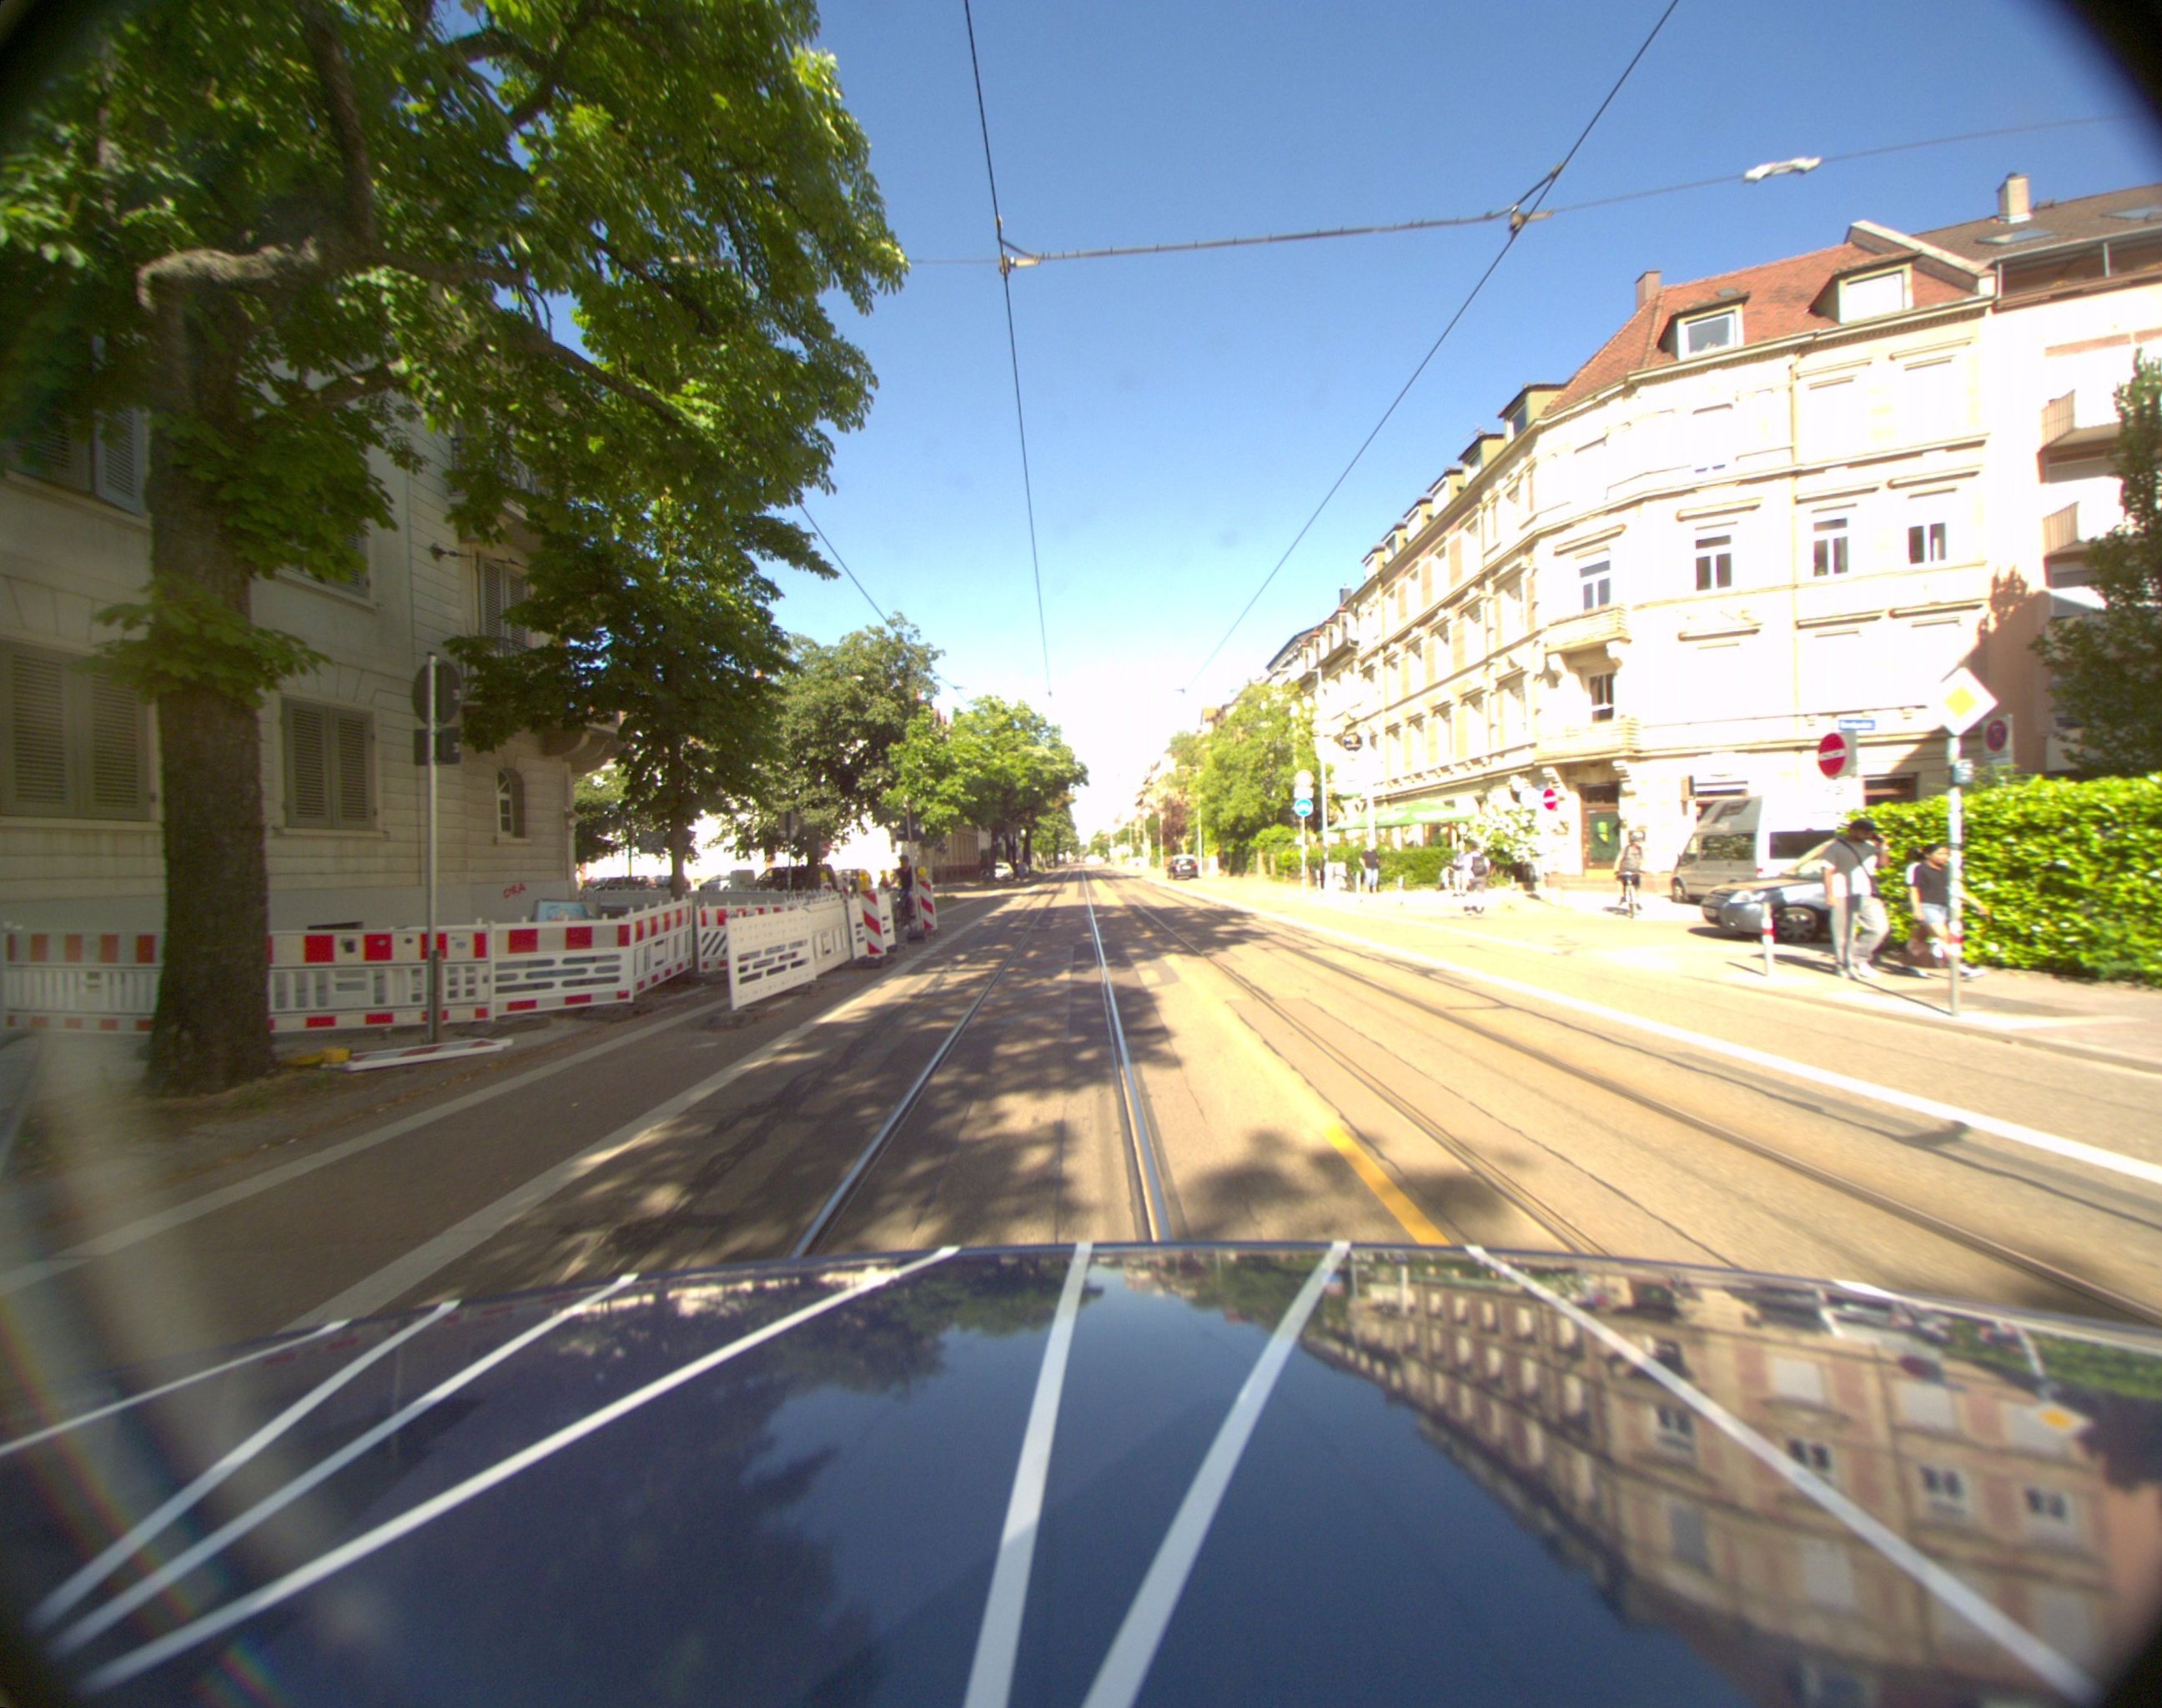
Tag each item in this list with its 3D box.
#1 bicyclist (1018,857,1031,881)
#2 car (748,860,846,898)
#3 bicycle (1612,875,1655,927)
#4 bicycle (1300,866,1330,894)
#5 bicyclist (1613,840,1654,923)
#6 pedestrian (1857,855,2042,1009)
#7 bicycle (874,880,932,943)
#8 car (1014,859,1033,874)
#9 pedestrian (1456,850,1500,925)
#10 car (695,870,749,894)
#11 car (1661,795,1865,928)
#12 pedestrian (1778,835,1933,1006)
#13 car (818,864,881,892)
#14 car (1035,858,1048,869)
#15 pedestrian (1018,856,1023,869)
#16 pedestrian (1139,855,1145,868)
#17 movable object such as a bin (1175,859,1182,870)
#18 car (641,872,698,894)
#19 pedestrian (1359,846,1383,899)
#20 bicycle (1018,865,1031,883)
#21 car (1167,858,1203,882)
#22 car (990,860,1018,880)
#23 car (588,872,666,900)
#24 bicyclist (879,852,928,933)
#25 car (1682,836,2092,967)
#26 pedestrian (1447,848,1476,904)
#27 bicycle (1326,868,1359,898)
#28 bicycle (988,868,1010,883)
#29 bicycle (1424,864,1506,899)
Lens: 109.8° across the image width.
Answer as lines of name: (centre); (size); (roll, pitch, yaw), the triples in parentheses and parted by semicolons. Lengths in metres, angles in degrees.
bicyclist: (-3.775, 0.993, 50.899); (0.776, 1.505, 1.229); (-2, 0, -3)
car: (-15.533, 1.377, 41.525); (5.054, 1.880, 2.003); (-2, 2, 26)
bicycle: (12.863, 1.062, 17.719); (0.705, 1.049, 1.838); (-1, 2, 33)
bicycle: (9.530, 1.036, 31.044); (0.515, 1.032, 2.223); (-2, 0, 1)
bicyclist: (12.855, 0.623, 17.712); (0.705, 1.843, 0.987); (-1, 2, 33)
pedestrian: (8.980, 0.764, 7.904); (0.756, 1.469, 0.957); (-4, 0, 1)
bicycle: (-3.992, 1.264, 17.238); (0.763, 1.235, 2.096); (-3, 0, 0)
car: (-5.880, 1.274, 77.880); (1.824, 1.475, 4.748); (-1, 0, -2)
pedestrian: (9.668, 0.799, 18.539); (0.693, 1.757, 0.867); (-2, 0, 10)
car: (-24.404, 1.896, 51.632); (3.493, 1.491, 1.441); (-2, 2, 28)
car: (16.381, 0.111, 18.632); (1.889, 2.825, 4.788); (-1, 1, 17)
pedestrian: (8.279, 0.680, 8.165); (0.756, 1.704, 0.808); (-4, 0, 1)
car: (-14.311, 1.499, 46.943); (3.431, 1.530, 1.725); (-2, 3, 28)
car: (-5.826, 1.384, 112.390); (1.761, 1.458, 4.613); (-1, 0, -2)
pedestrian: (-9.183, 1.313, 115.199); (0.743, 2.002, 0.687); (-2, 0, -8)
pedestrian: (8.802, 1.120, 110.125); (0.809, 1.825, 0.754); (-2, 0, 9)
movable object such as a bin: (10.292, 1.097, 80.031); (0.590, 1.169, 0.665); (-2, 0, -5)
car: (-29.563, 2.102, 54.563); (3.952, 1.408, 1.642); (-2, 2, 28)
pedestrian: (9.768, 0.613, 25.612); (0.558, 1.771, 0.538); (-2, 1, -3)
bicycle: (-3.765, 1.337, 50.896); (0.776, 1.080, 2.058); (-2, 0, -2)
car: (7.171, 1.074, 52.923); (1.869, 1.567, 4.588); (0, 0, 0)
car: (-6.001, 1.227, 59.448); (1.705, 1.463, 4.214); (-1, 0, 1)
car: (-28.859, 2.034, 48.307); (4.608, 1.601, 1.938); (-2, 2, 26)
bicyclist: (-4.012, 0.850, 17.241); (0.763, 1.728, 1.046); (-3, 0, 0)
car: (12.282, 0.675, 11.978); (4.045, 1.797, 1.794); (-1, 2, 21)
pedestrian: (11.629, 0.650, 23.198); (0.705, 1.645, 0.834); (-1, 2, 32)
bicycle: (9.338, 1.028, 27.175); (0.528, 0.975, 1.777); (-2, 0, 0)
bicycle: (-5.850, 1.530, 54.212); (1.570, 0.974, 0.640); (-1, 0, -9)
bicycle: (12.755, 0.913, 25.298); (2.244, 1.038, 0.876); (-2, 2, 10)
